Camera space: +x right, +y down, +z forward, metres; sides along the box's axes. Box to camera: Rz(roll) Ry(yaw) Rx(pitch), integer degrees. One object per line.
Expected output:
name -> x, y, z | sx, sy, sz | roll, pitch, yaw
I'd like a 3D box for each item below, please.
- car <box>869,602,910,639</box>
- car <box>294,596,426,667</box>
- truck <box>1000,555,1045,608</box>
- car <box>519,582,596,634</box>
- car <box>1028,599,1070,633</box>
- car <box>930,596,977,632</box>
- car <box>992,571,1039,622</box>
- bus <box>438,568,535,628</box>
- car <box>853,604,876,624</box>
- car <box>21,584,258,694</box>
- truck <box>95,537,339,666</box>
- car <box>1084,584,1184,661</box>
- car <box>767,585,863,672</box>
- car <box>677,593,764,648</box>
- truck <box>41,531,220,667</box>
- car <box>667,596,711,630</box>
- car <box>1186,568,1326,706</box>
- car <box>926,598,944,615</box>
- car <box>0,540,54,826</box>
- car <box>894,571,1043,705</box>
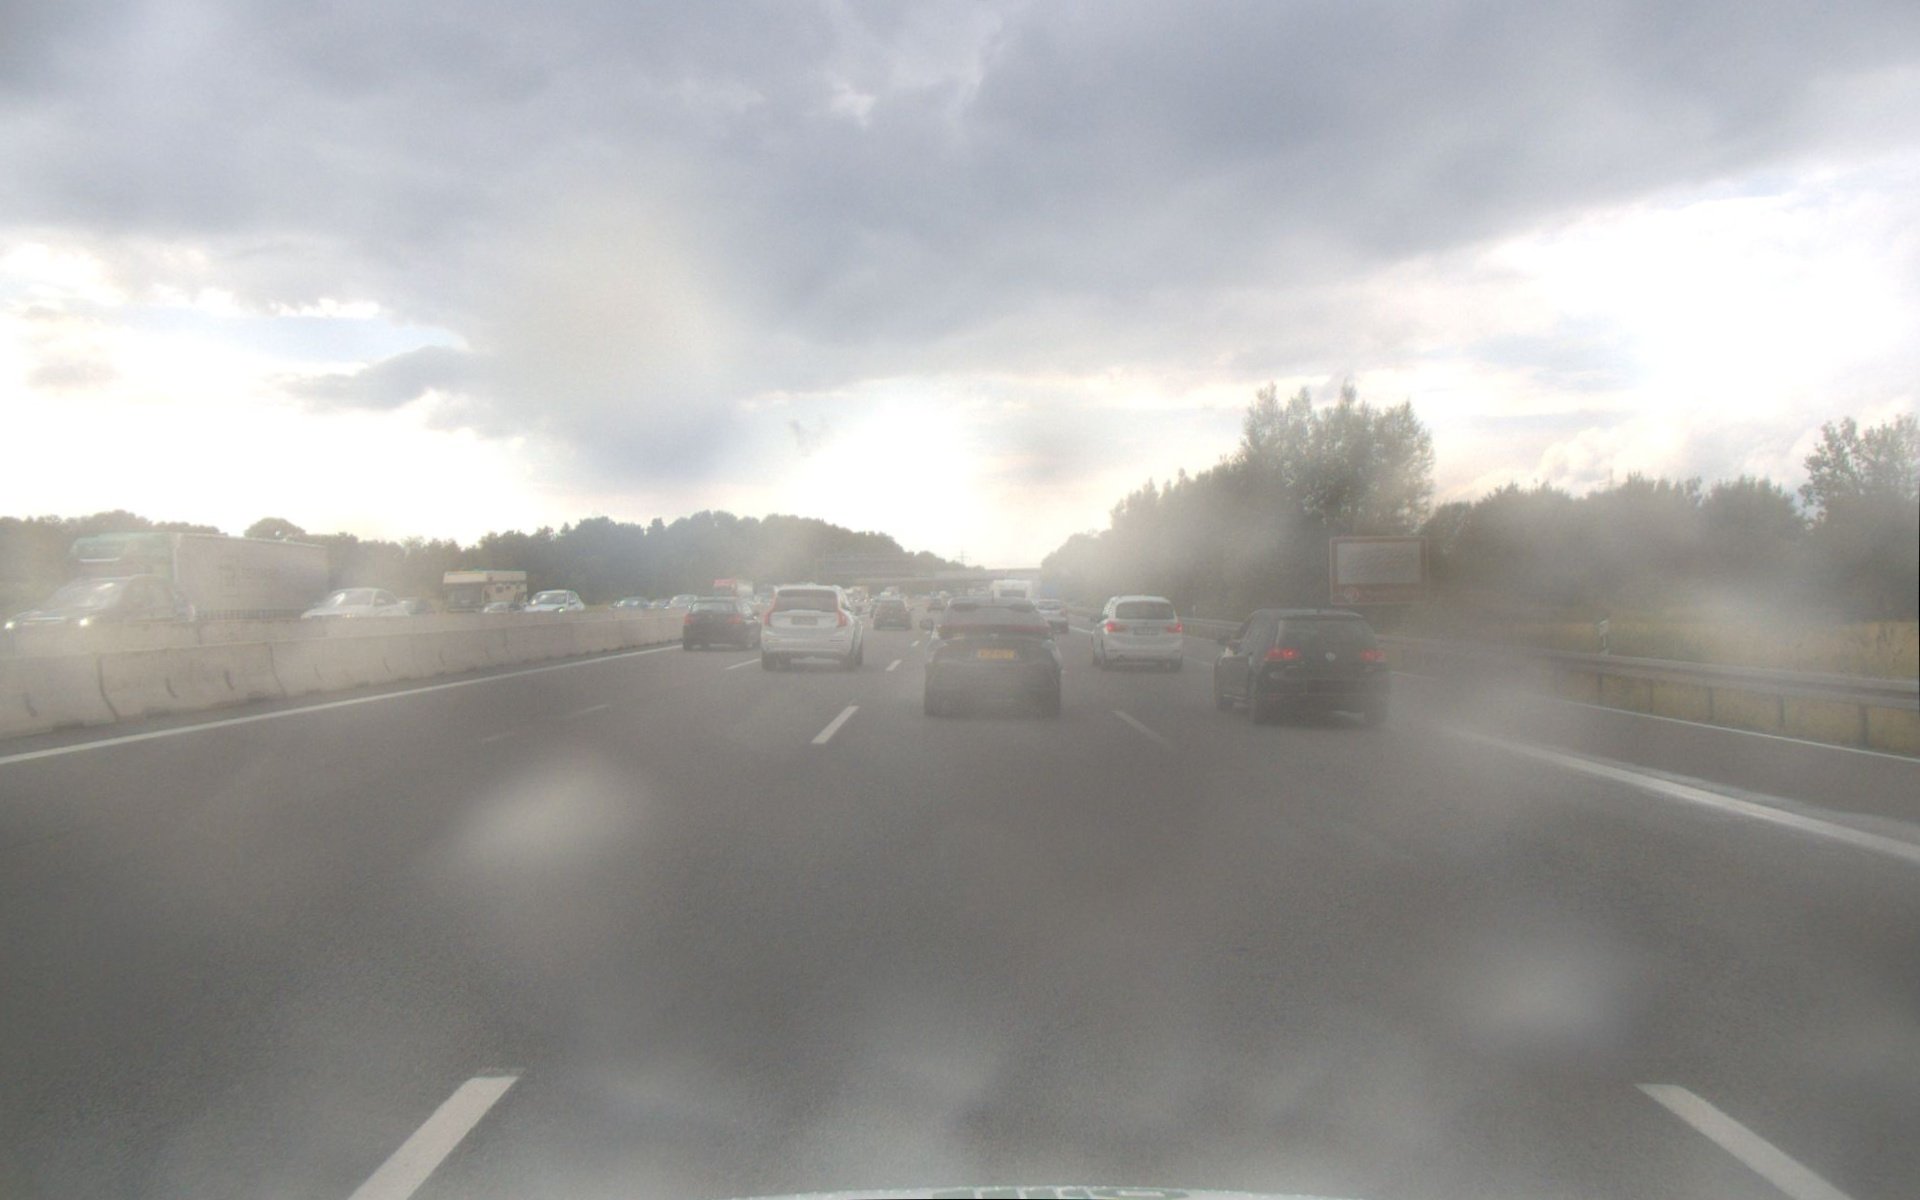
car -> -3.316, 0.958, 78.674 | 1.843, 1.715, 3.999 | 0, 0, -1
car -> -17.138, 0.856, 47.528 | 1.953, 1.885, 5.078 | 0, 0, 0
truck -> 4.621, -1.353, 123.833 | 3.068, 3.774, 9.848 | 0, 0, 1
car -> -16.207, 0.313, 66.817 | 1.952, 2.049, 4.763 | 0, 0, 0
car -> 4.031, 0.717, 75.144 | 1.758, 1.503, 4.038 | 0, 0, 1
car -> -0.239, 0.559, 68.798 | 1.846, 1.431, 4.283 | 0, 0, 1
car -> 3.261, -0.224, 99.150 | 2.515, 2.946, 7.532 | 0, 0, -1
bus -> -28.055, -0.119, 98.506 | 2.773, 3.391, 9.964 | 0, 0, 1
car -> -7.086, 1.025, 122.944 | 1.531, 1.503, 3.919 | 0, 0, -1
car -> -15.474, 0.680, 31.572 | 1.953, 1.931, 5.186 | 0, 0, 0
truck -> -27.971, 0.037, 63.411 | 3.083, 4.388, 13.950 | 0, 0, 0
car -> 3.876, 0.470, 37.461 | 1.773, 1.627, 4.695 | 0, 0, 0
car -> -3.061, 0.579, 35.617 | 1.744, 1.746, 4.352 | 0, 0, -1
car -> -6.839, 0.553, 47.620 | 1.744, 1.507, 4.354 | 0, 0, 2
truck -> -27.945, -0.041, 56.057 | 3.054, 4.356, 5.911 | 0, 0, 0
car -> -16.680, 0.779, 101.978 | 1.953, 2.049, 5.181 | 0, 0, -1
car -> 3.989, 0.445, 22.291 | 1.670, 1.659, 4.461 | 0, 0, 10
car -> -2.615, 0.666, 172.595 | 1.843, 1.715, 3.999 | 0, 0, -1
car -> -6.645, 0.514, 8.110 | 1.778, 1.719, 4.851 | 0, 0, -1
car -> 0.021, 0.469, 22.724 | 1.745, 1.641, 4.594 | 0, 0, -4
